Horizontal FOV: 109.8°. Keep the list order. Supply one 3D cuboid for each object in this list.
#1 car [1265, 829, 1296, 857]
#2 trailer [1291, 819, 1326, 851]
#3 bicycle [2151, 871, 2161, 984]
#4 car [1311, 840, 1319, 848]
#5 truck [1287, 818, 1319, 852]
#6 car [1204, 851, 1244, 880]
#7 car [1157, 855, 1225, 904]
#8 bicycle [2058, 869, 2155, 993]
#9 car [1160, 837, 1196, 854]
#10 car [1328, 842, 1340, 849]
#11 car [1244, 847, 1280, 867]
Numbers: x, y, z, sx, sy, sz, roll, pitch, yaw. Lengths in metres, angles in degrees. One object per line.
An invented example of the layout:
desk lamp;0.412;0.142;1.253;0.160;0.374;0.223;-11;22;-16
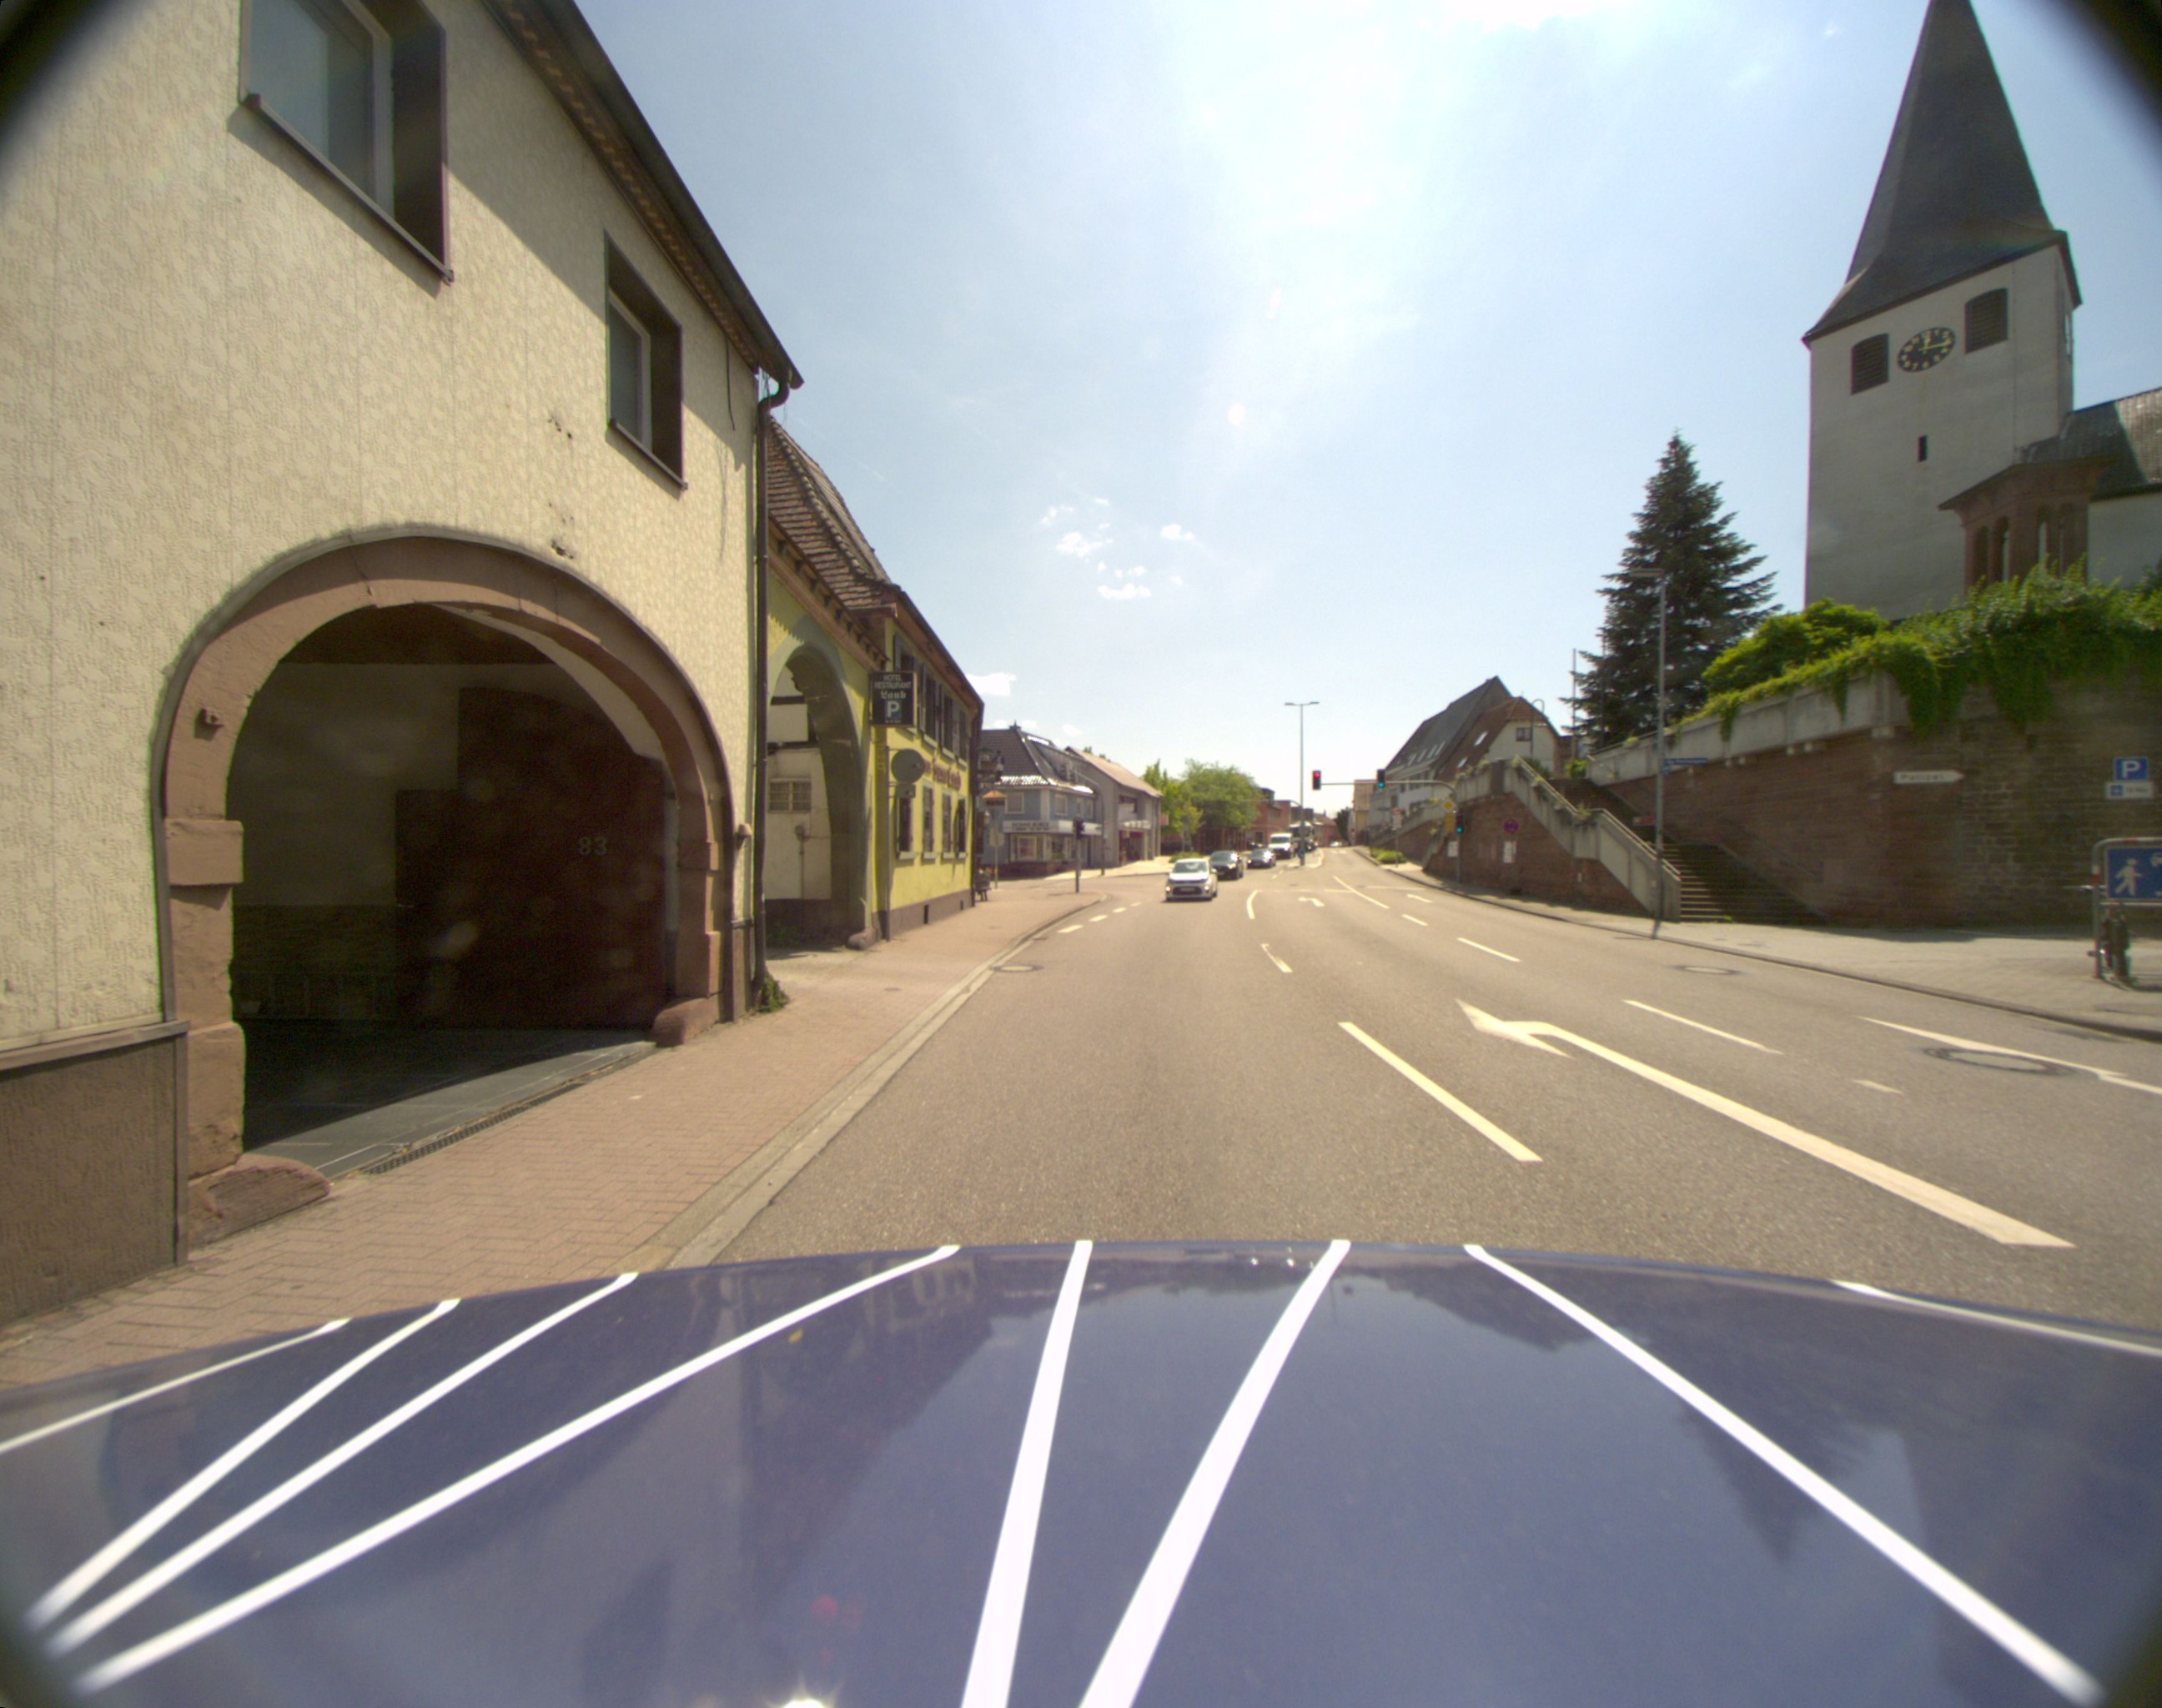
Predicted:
car;18.569;-1.010;70.555;2.171;2.549;4.832;0;1;23
trailer;26.867;-2.132;89.308;2.833;3.549;10.982;0;0;22
bicycle;12.472;0.847;8.447;1.834;1.241;0.577;-3;-1;-37
car;53.019;-2.269;172.115;1.764;1.775;4.005;-1;1;18
truck;24.435;-2.034;83.387;2.843;3.549;5.477;0;1;22
car;8.376;0.640;44.181;1.722;1.541;4.308;-2;0;18
car;4.125;0.875;27.906;1.722;1.541;4.308;-2;0;18
bicycle;12.028;0.854;8.924;1.834;1.241;0.577;-3;-1;-37
car;10.826;-0.944;85.066;3.756;1.701;1.726;-2;1;15
car;59.630;-2.102;179.267;2.008;1.621;4.586;0;0;26
car;13.809;0.213;57.859;1.926;1.358;4.309;-2;0;23
